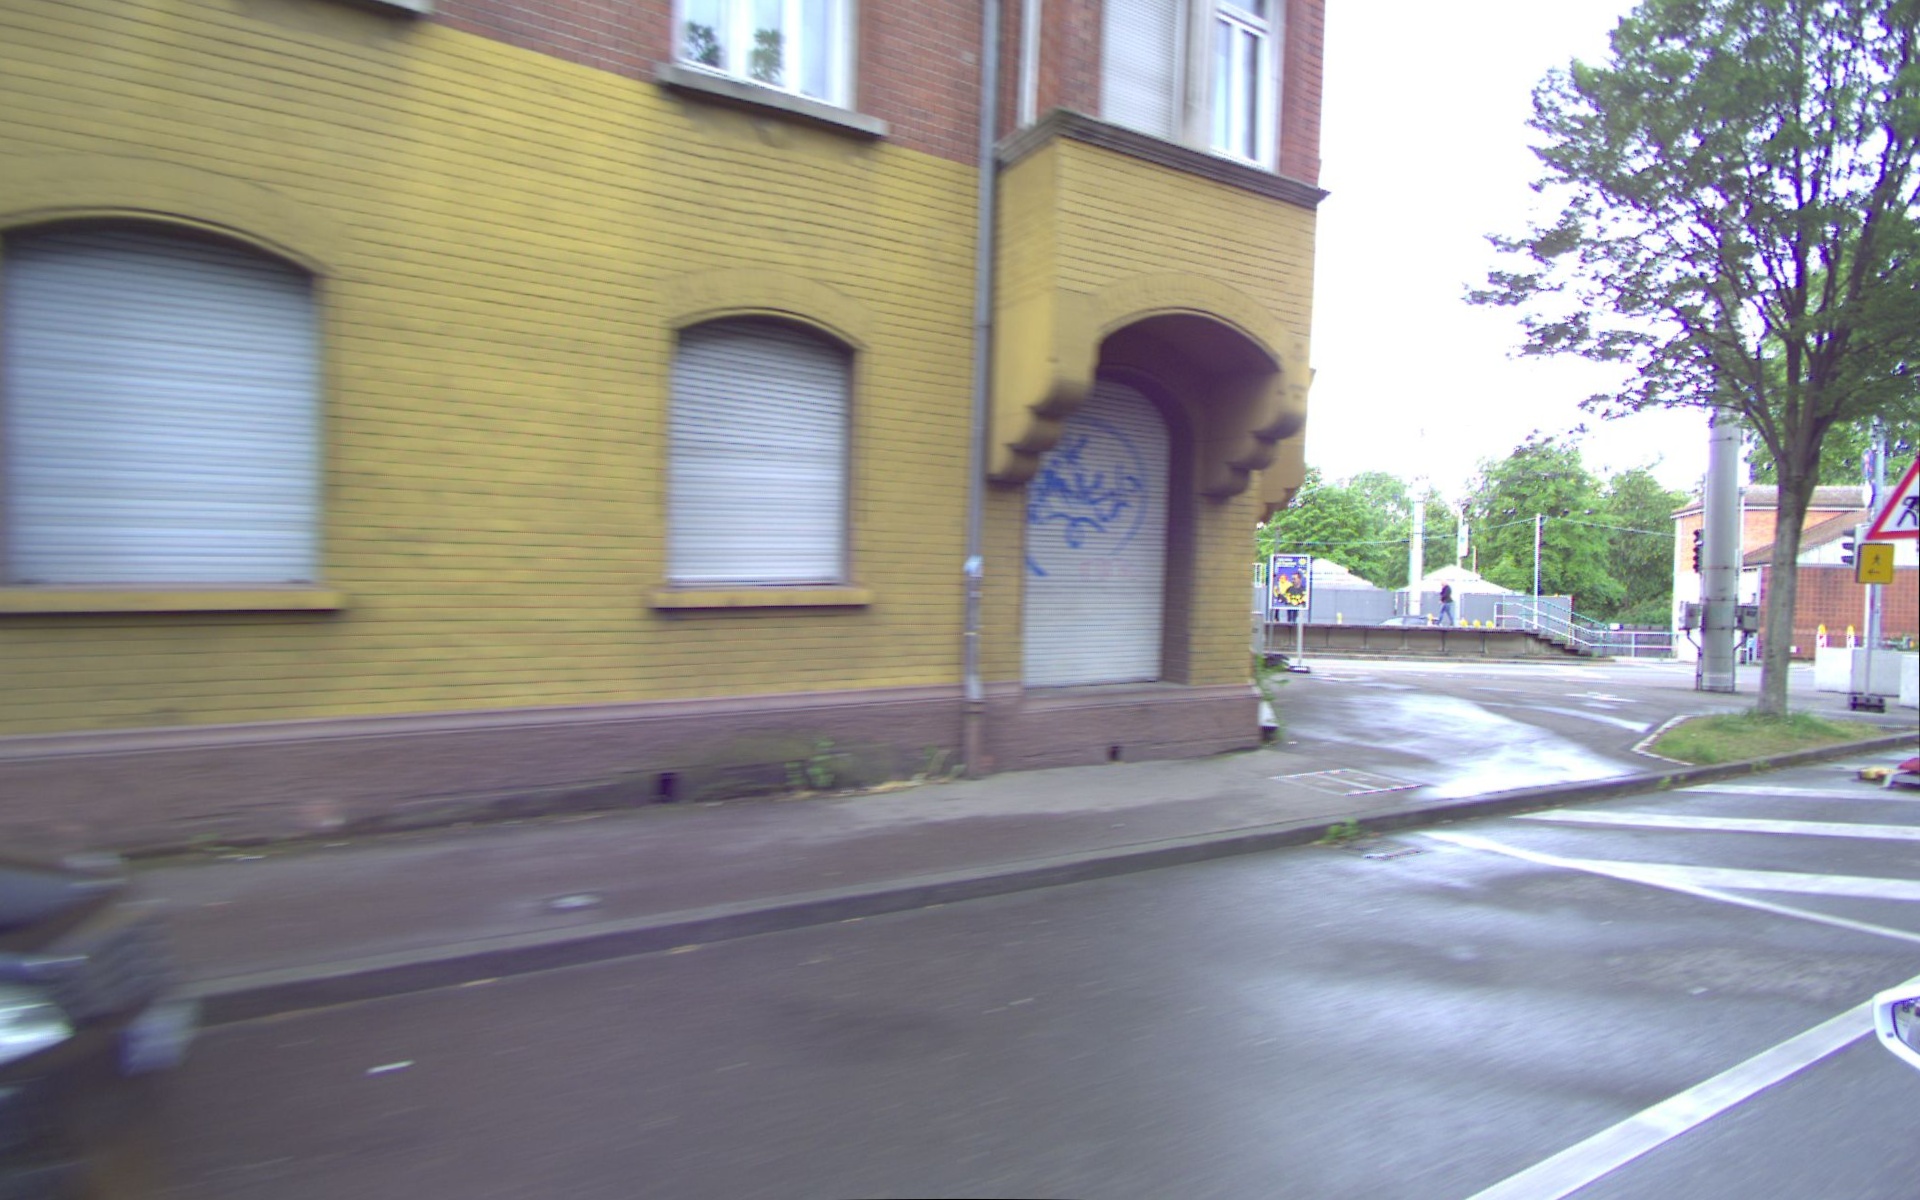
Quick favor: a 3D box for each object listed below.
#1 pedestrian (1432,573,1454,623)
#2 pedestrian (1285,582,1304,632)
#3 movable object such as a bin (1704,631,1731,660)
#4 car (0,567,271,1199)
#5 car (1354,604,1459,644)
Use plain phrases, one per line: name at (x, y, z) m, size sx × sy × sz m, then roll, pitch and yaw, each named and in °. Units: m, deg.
pedestrian at (15.922, -0.072, 33.126) m, size 0.515 × 1.631 × 0.599 m, roll 1°, pitch -1°, yaw 15°
pedestrian at (11.705, 0.246, 35.180) m, size 0.586 × 1.722 × 0.459 m, roll 1°, pitch -1°, yaw 15°
movable object such as a bin at (36.840, 2.224, 48.867) m, size 0.834 × 1.358 × 0.801 m, roll 1°, pitch -2°, yaw 18°
car at (-3.786, 0.676, 1.536) m, size 4.337 × 1.506 × 1.717 m, roll 0°, pitch 2°, yaw -30°
car at (19.252, 1.048, 43.472) m, size 3.919 × 1.572 × 1.758 m, roll 2°, pitch -2°, yaw 16°
